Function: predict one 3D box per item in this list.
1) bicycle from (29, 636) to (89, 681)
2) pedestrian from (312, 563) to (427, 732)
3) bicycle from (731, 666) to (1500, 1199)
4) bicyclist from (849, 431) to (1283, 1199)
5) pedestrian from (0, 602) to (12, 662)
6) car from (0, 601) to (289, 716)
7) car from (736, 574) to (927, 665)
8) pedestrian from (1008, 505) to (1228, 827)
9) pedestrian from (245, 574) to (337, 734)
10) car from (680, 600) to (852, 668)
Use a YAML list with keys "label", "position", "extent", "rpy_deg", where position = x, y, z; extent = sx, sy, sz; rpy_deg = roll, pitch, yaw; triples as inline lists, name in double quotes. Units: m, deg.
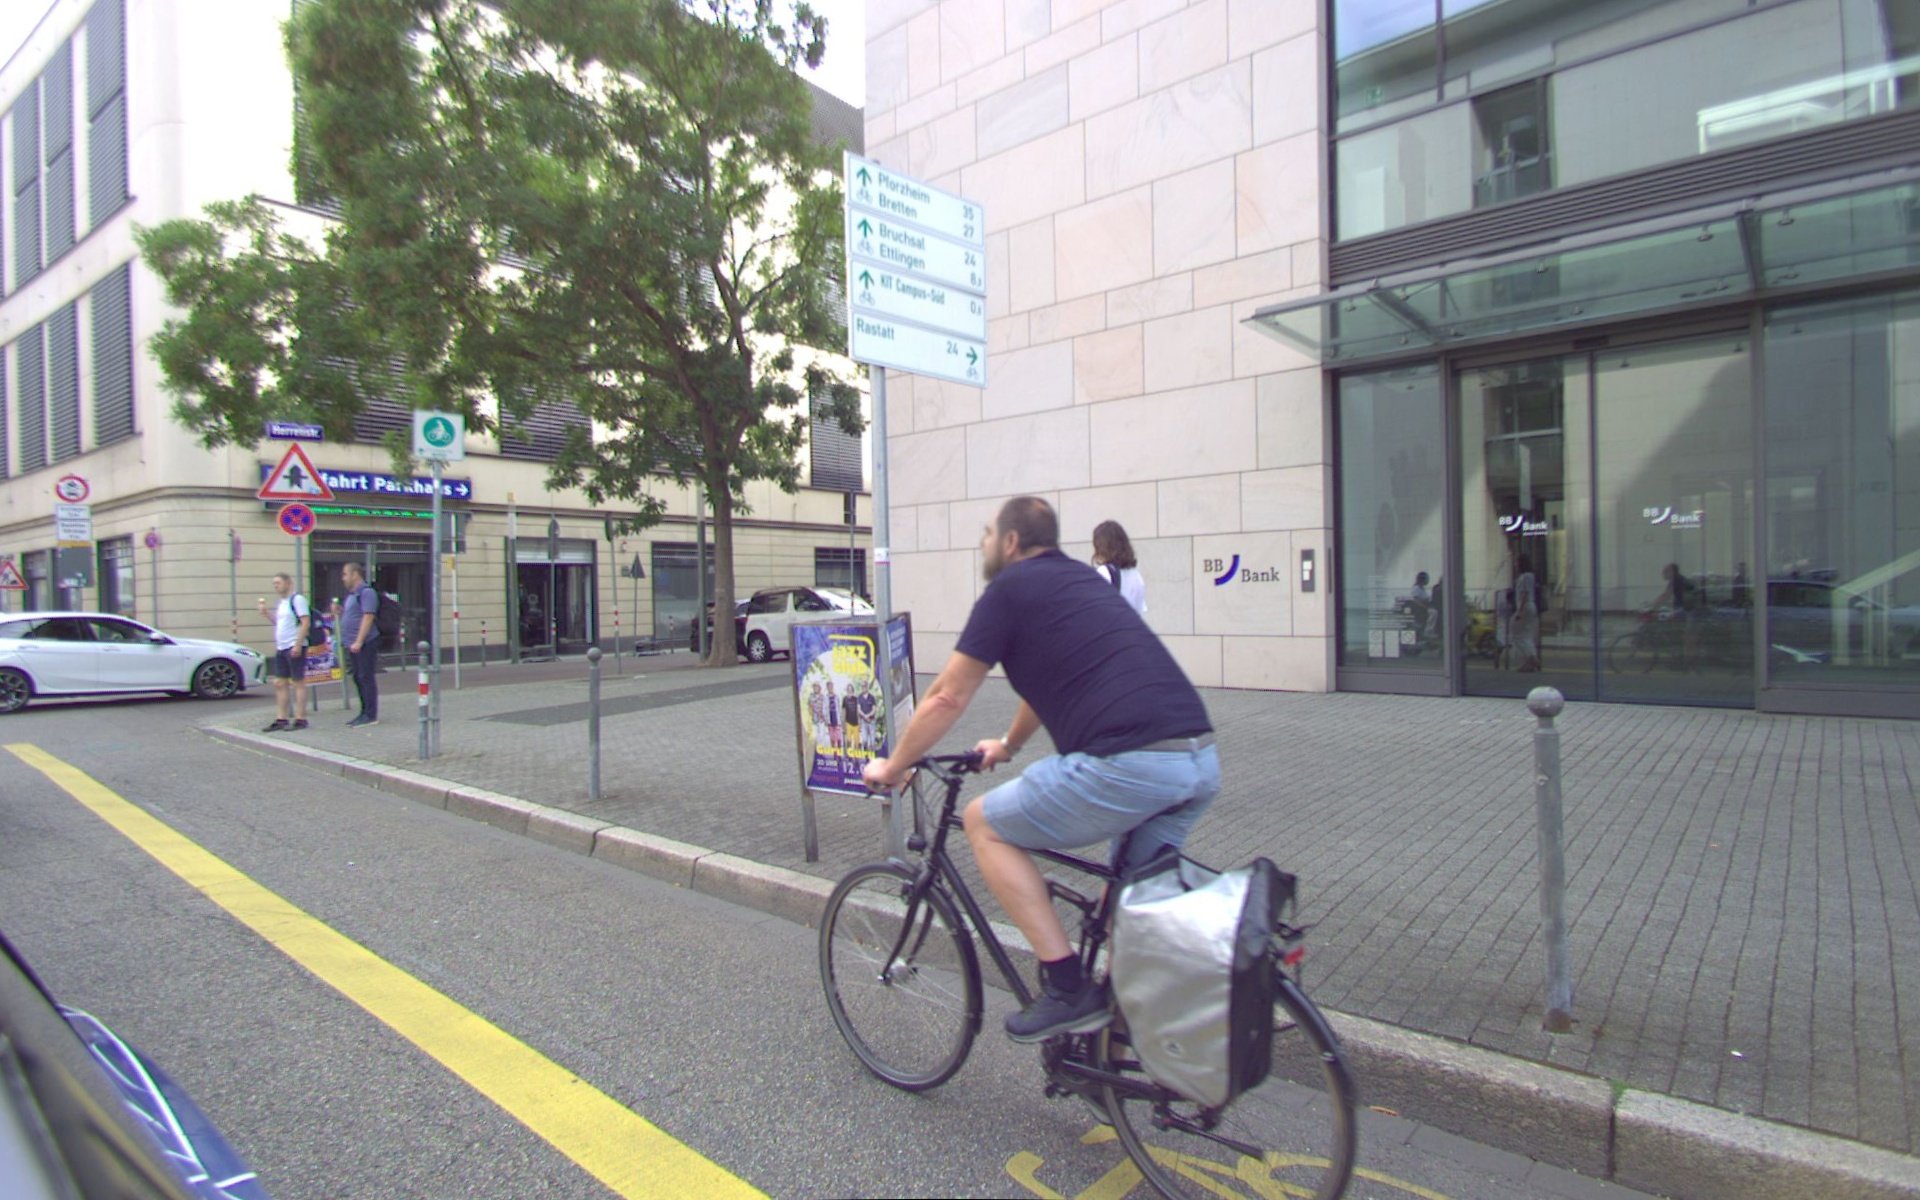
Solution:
- label: "bicycle"
  position: [-23.417, 1.497, 26.293]
  extent: [2.539, 1.052, 0.684]
  rpy_deg: [-1, 0, 37]
- label: "pedestrian"
  position: [-6.708, 0.517, 11.520]
  extent: [0.753, 1.827, 0.738]
  rpy_deg: [-2, 3, 29]
- label: "bicycle"
  position: [0.273, 0.838, 2.674]
  extent: [1.951, 1.250, 0.640]
  rpy_deg: [-1, -2, 40]
- label: "bicyclist"
  position: [0.276, 0.487, 2.678]
  extent: [0.939, 1.666, 0.636]
  rpy_deg: [-1, -3, 40]
- label: "pedestrian"
  position: [-29.183, 0.979, 30.257]
  extent: [1.057, 1.778, 0.883]
  rpy_deg: [-1, 3, 32]
- label: "car"
  position: [-13.384, 0.837, 15.984]
  extent: [1.813, 1.593, 4.310]
  rpy_deg: [-1, 0, 38]
- label: "car"
  position: [-2.900, 0.464, 22.470]
  extent: [3.957, 1.706, 1.876]
  rpy_deg: [-5, -3, 37]
- label: "pedestrian"
  position: [0.947, 0.332, 6.017]
  extent: [0.909, 1.721, 0.868]
  rpy_deg: [-1, 4, 40]
- label: "pedestrian"
  position: [-7.689, 0.603, 11.640]
  extent: [0.651, 1.778, 0.637]
  rpy_deg: [-1, -1, 29]
- label: "car"
  position: [-5.021, 0.823, 26.660]
  extent: [1.813, 1.613, 4.310]
  rpy_deg: [-1, 0, 38]
